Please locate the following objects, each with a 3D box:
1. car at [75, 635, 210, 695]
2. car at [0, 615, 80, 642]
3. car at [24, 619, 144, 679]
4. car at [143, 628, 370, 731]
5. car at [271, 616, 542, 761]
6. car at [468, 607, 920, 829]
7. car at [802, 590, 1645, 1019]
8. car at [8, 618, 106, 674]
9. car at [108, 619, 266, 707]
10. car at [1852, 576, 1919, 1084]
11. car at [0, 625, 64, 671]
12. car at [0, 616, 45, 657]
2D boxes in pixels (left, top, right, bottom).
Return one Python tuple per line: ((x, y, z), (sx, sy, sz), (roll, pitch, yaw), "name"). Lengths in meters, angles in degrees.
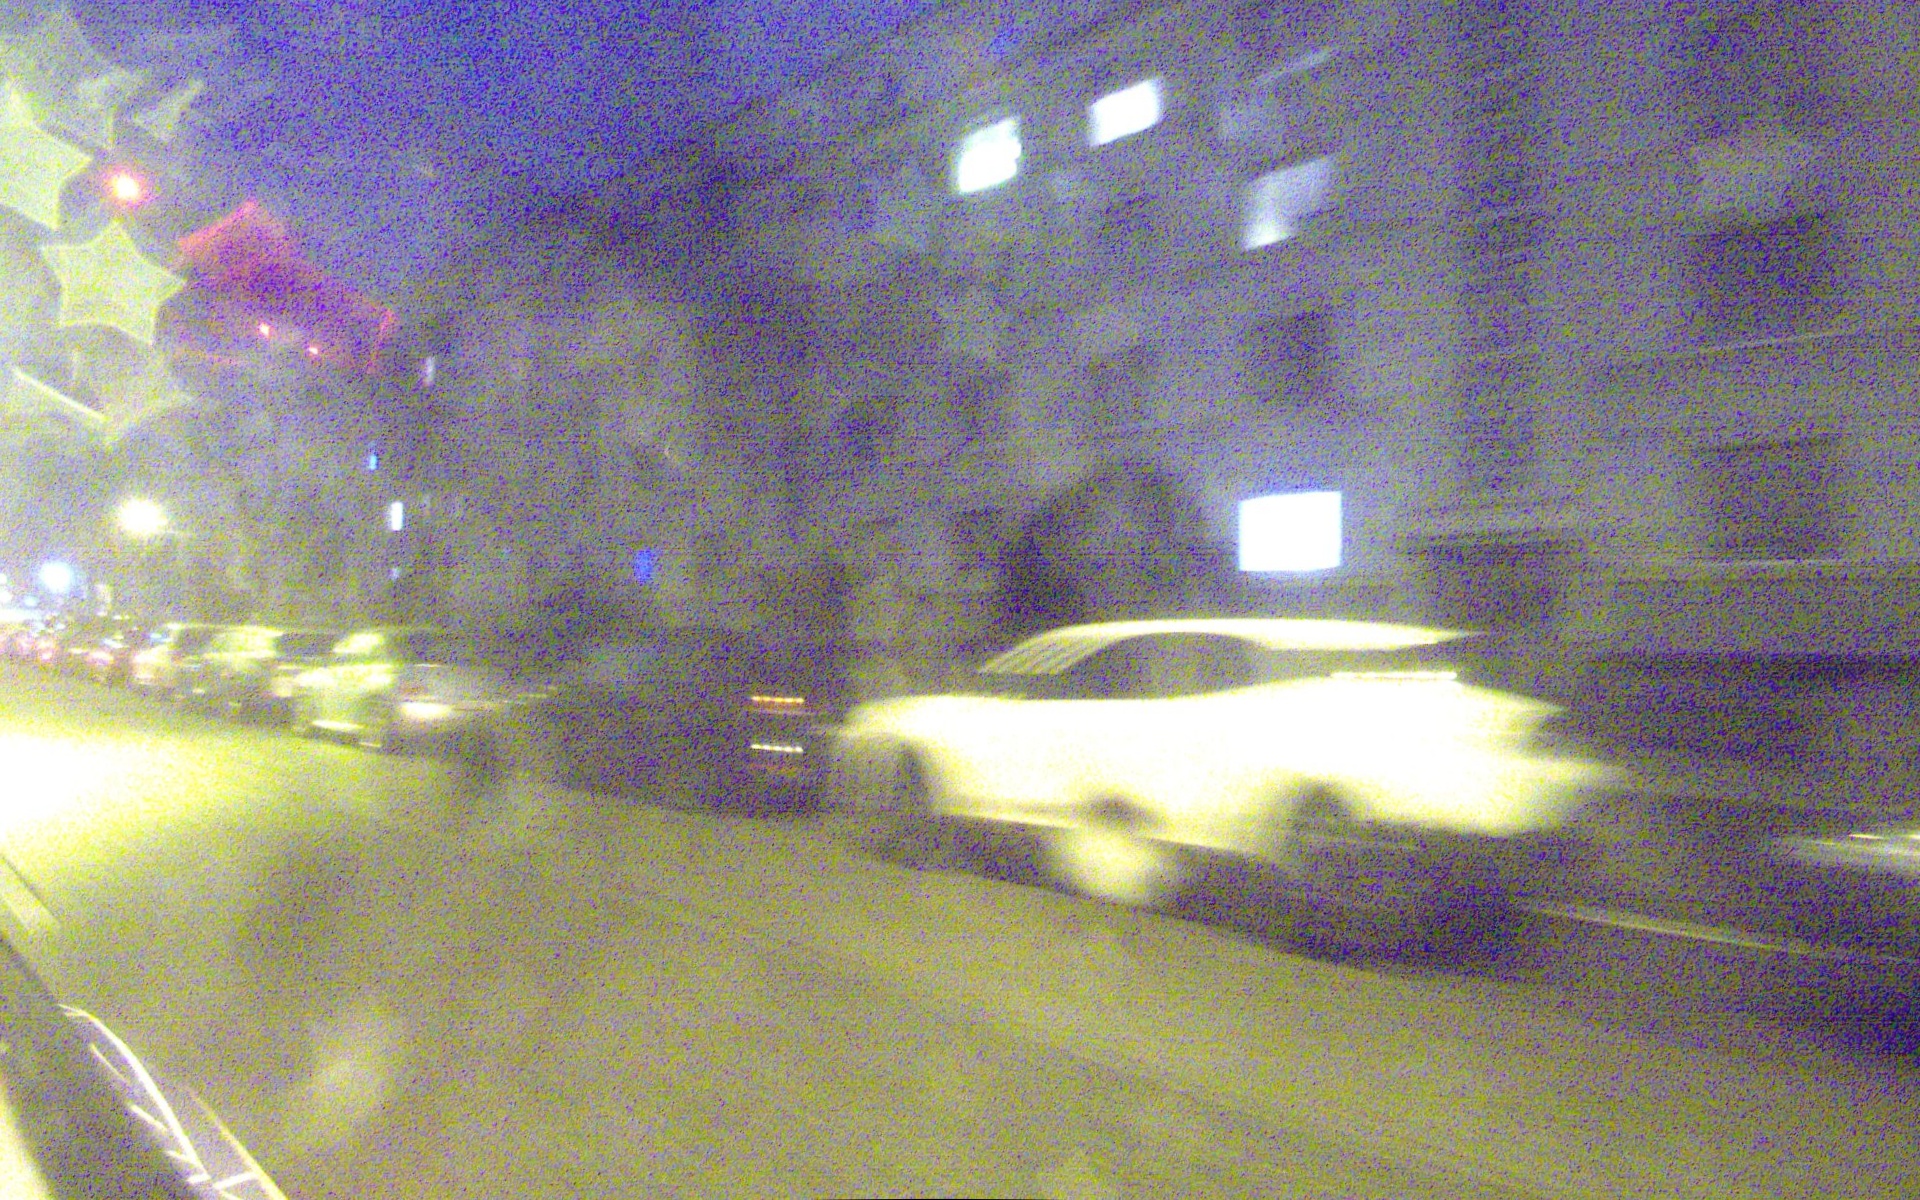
((-19.453, 1.488, 24.004), (4.637, 1.278, 1.818), (-2, -3, 43), "car")
((-61.198, 1.888, 66.801), (4.472, 1.719, 1.855), (3, -3, -35), "car")
((-23.426, 1.285, 27.009), (4.394, 1.484, 1.776), (-1, -3, 41), "car")
((-11.298, 1.179, 16.134), (4.668, 1.429, 1.604), (-1, -3, 38), "car")
((-7.178, 1.024, 12.921), (4.389, 1.551, 1.648), (-2, -3, 42), "car")
((-2.550, 0.896, 9.122), (4.386, 1.551, 1.649), (-1, -3, 39), "car")
((1.160, 0.840, 5.791), (4.390, 1.551, 1.648), (-2, -5, 42), "car")
((-27.542, 1.376, 30.832), (3.960, 1.585, 1.607), (-1, -4, 40), "car")
((-15.360, 1.213, 20.038), (4.058, 1.551, 1.688), (-2, -5, 42), "car")
((5.123, 0.725, 2.410), (4.386, 1.551, 1.649), (-1, -5, 39), "car")
((-31.970, 1.623, 34.533), (3.962, 1.484, 1.606), (-2, -3, 42), "car")
((-36.382, 1.383, 38.515), (4.543, 1.484, 1.607), (-1, -3, 39), "car")
